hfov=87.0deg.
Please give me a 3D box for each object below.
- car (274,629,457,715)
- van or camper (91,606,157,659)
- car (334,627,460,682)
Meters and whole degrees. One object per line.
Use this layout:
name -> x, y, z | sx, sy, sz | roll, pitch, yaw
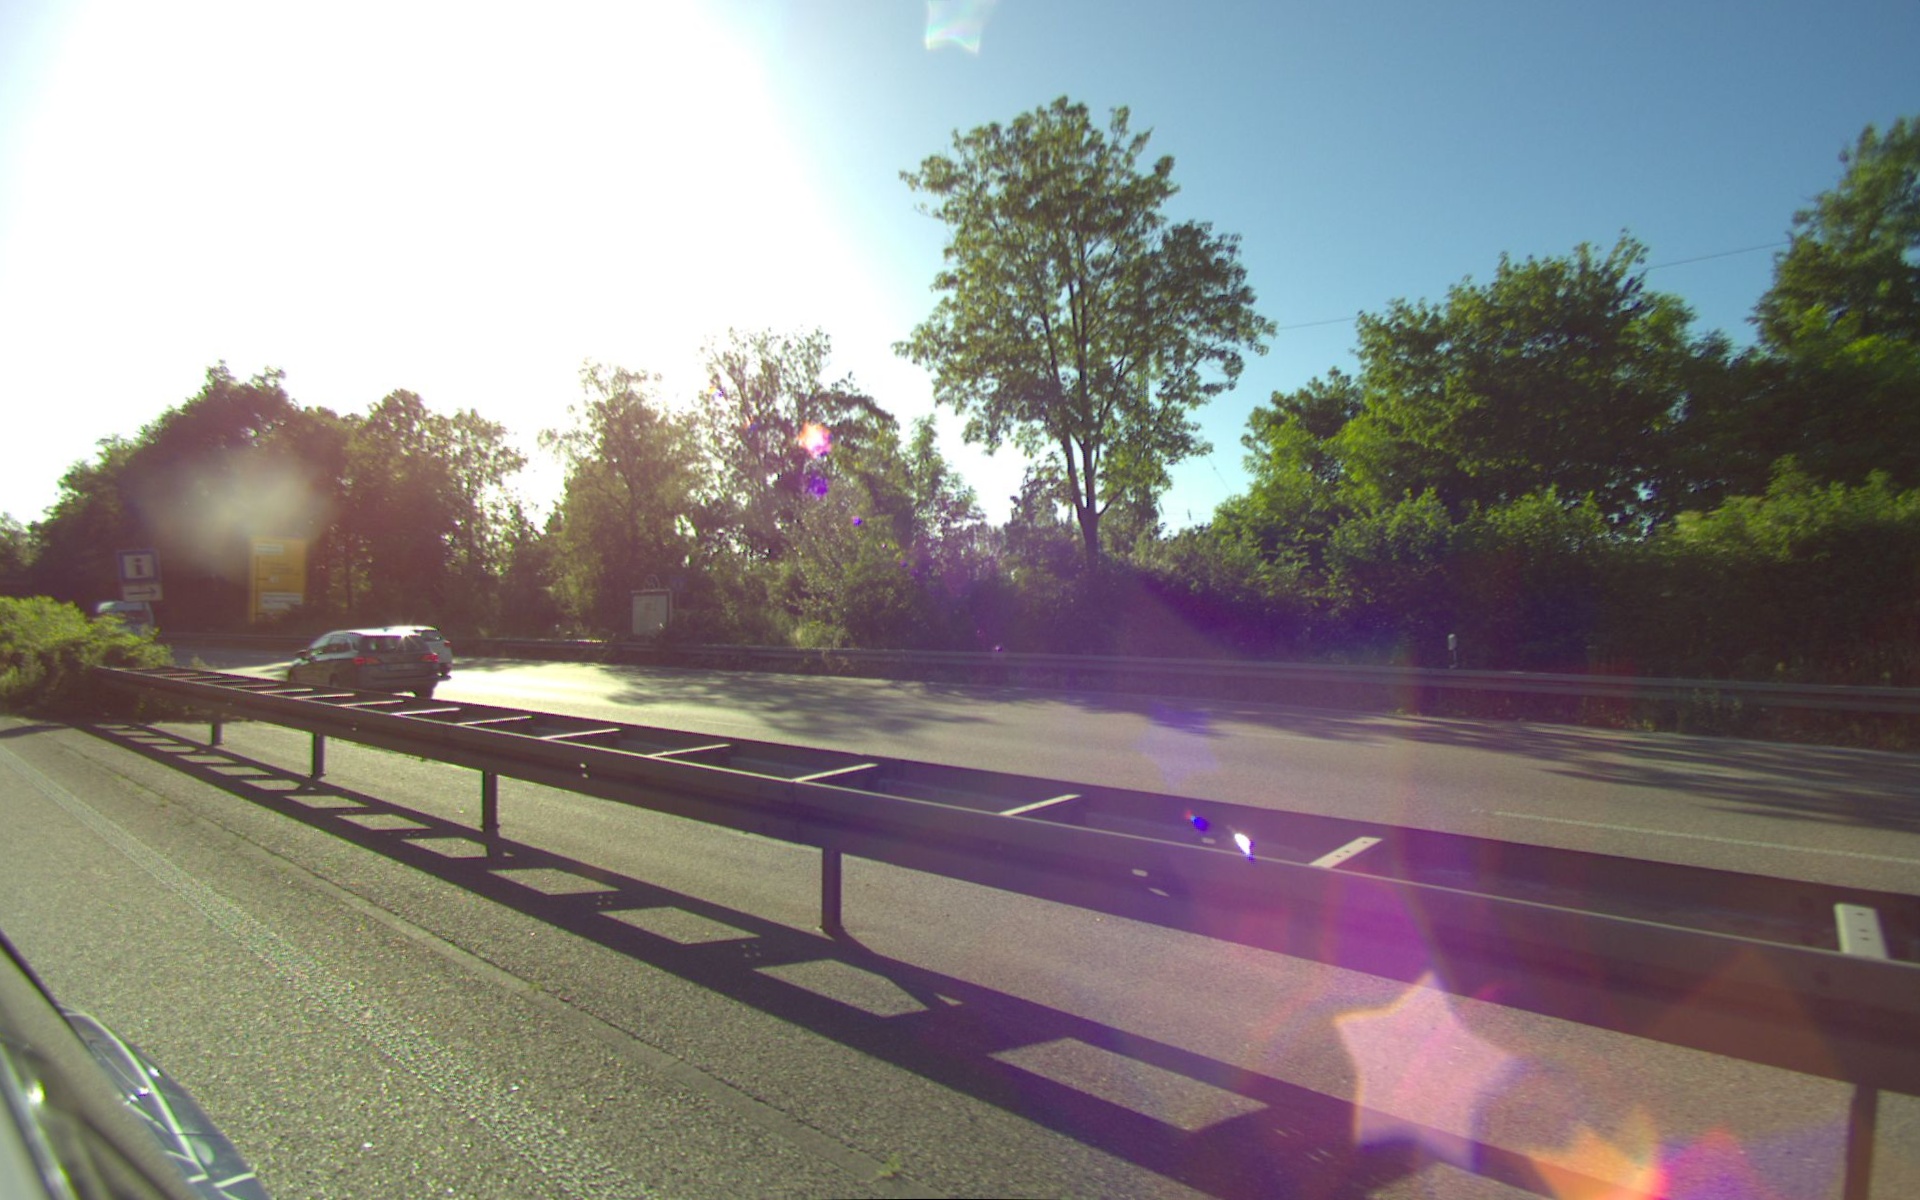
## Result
car -> -12.359, 1.399, 20.923 | 4.462, 1.552, 1.940 | -2, -1, 41
van or camper -> -45.885, 1.775, 55.499 | 5.251, 2.743, 1.972 | -1, -2, 42
car -> -16.923, 1.588, 30.333 | 4.324, 1.461, 1.940 | -2, 0, 41
